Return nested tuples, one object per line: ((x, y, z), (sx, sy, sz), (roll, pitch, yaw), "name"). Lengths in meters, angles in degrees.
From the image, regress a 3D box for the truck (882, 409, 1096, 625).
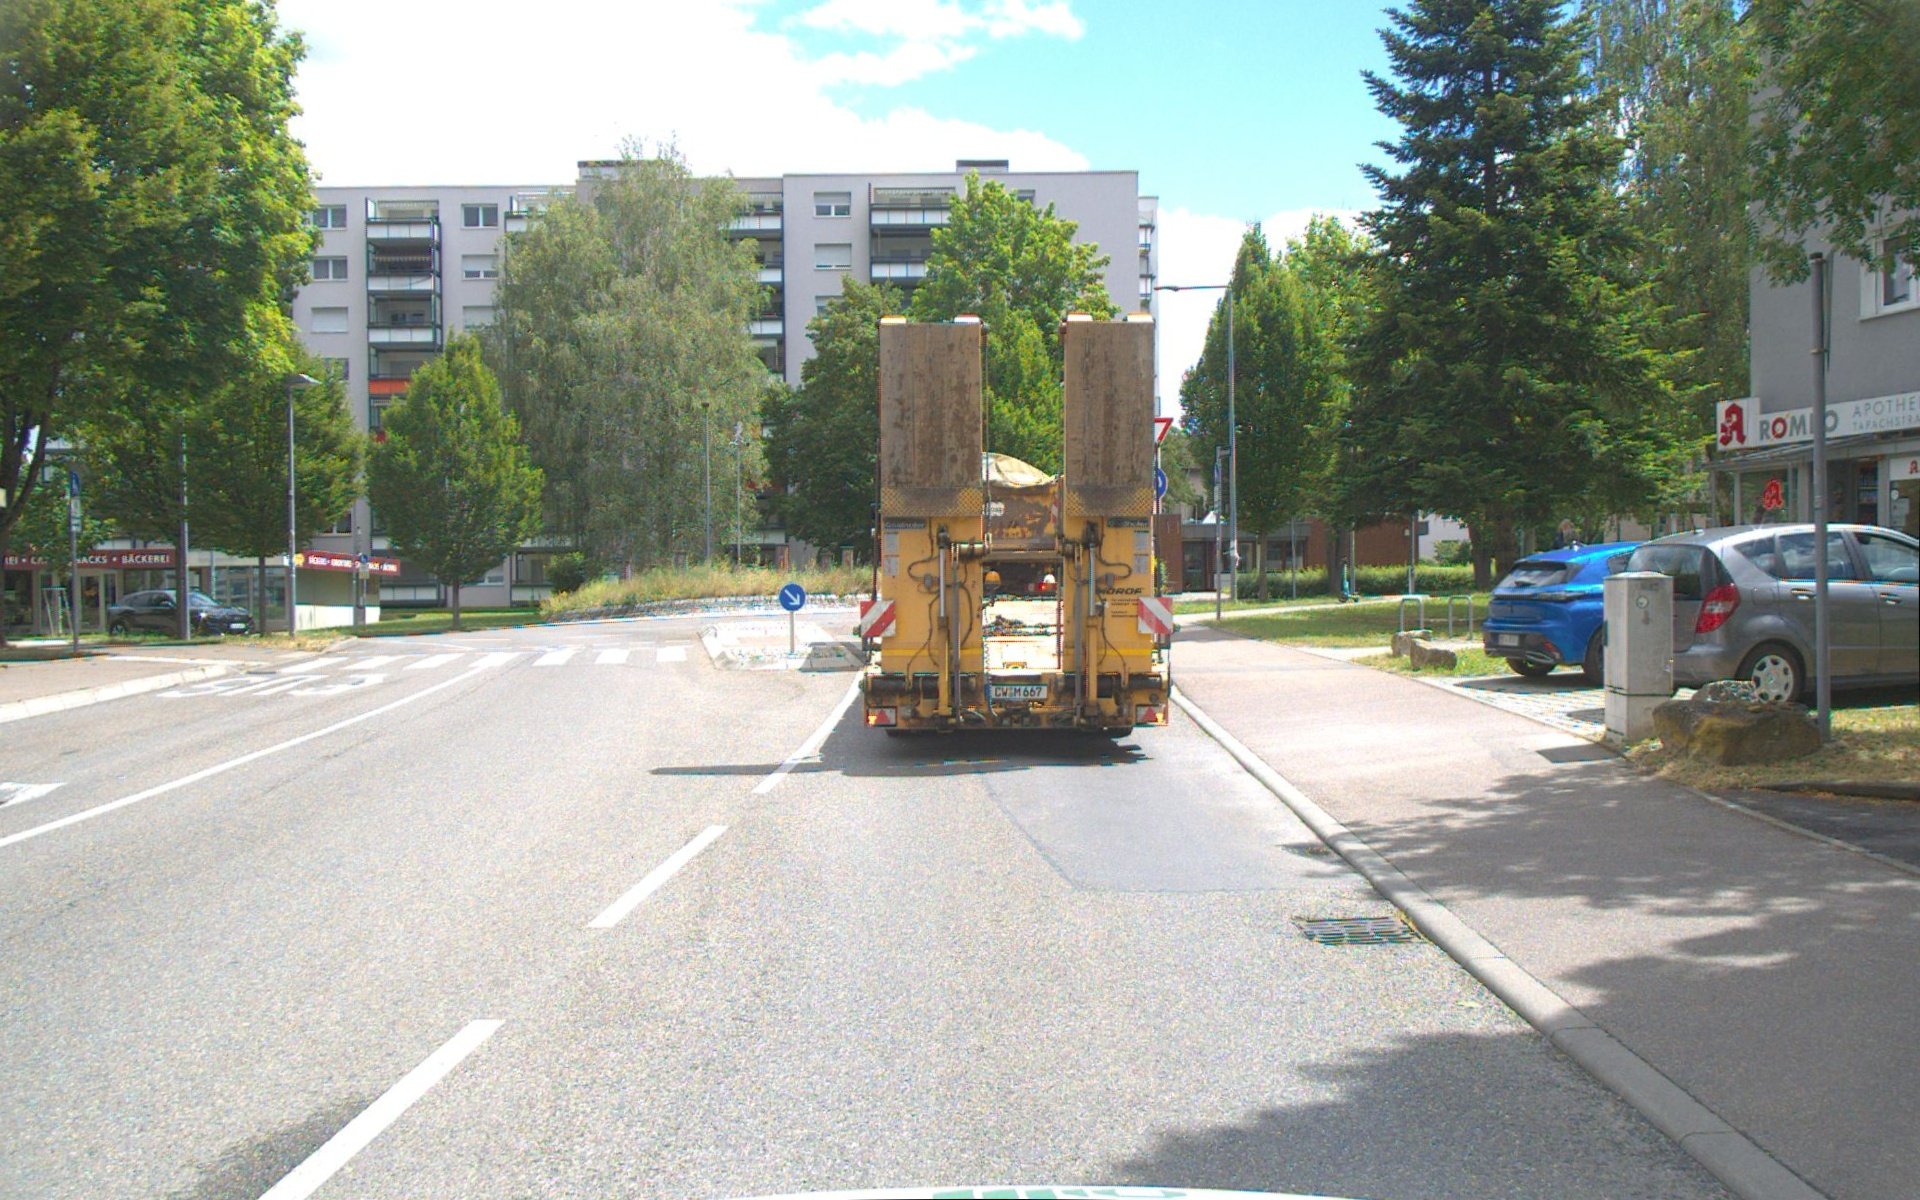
((0.224, -1.349, 28.044), (2.929, 3.087, 8.481), (0, 2, -4), "truck")

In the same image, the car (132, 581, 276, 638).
((-22.148, 0.293, 48.400), (4.437, 1.552, 1.991), (-1, 1, 38), "car")

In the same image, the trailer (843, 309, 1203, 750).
((0.467, -0.702, 18.358), (2.805, 3.431, 10.841), (0, 2, 0), "trailer")

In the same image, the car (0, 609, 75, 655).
((-31.600, 1.085, 54.872), (4.516, 1.407, 1.820), (-1, 1, 30), "car")

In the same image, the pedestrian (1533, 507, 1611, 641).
((9.650, -0.409, 26.105), (0.642, 2.049, 1.043), (-2, 1, -13), "pedestrian")

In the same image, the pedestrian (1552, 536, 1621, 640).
((9.670, -0.185, 25.537), (0.728, 1.556, 0.690), (-2, 1, -9), "pedestrian")

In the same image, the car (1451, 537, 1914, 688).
((8.002, 0.095, 18.460), (4.407, 1.265, 1.993), (-4, 1, -14), "car")

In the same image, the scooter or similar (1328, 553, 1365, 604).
((10.852, -0.607, 46.439), (0.476, 1.366, 1.383), (-2, 1, 36), "scooter or similar")

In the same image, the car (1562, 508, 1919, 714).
((7.739, 0.021, 15.085), (3.664, 1.583, 2.026), (-4, 1, -12), "car")
